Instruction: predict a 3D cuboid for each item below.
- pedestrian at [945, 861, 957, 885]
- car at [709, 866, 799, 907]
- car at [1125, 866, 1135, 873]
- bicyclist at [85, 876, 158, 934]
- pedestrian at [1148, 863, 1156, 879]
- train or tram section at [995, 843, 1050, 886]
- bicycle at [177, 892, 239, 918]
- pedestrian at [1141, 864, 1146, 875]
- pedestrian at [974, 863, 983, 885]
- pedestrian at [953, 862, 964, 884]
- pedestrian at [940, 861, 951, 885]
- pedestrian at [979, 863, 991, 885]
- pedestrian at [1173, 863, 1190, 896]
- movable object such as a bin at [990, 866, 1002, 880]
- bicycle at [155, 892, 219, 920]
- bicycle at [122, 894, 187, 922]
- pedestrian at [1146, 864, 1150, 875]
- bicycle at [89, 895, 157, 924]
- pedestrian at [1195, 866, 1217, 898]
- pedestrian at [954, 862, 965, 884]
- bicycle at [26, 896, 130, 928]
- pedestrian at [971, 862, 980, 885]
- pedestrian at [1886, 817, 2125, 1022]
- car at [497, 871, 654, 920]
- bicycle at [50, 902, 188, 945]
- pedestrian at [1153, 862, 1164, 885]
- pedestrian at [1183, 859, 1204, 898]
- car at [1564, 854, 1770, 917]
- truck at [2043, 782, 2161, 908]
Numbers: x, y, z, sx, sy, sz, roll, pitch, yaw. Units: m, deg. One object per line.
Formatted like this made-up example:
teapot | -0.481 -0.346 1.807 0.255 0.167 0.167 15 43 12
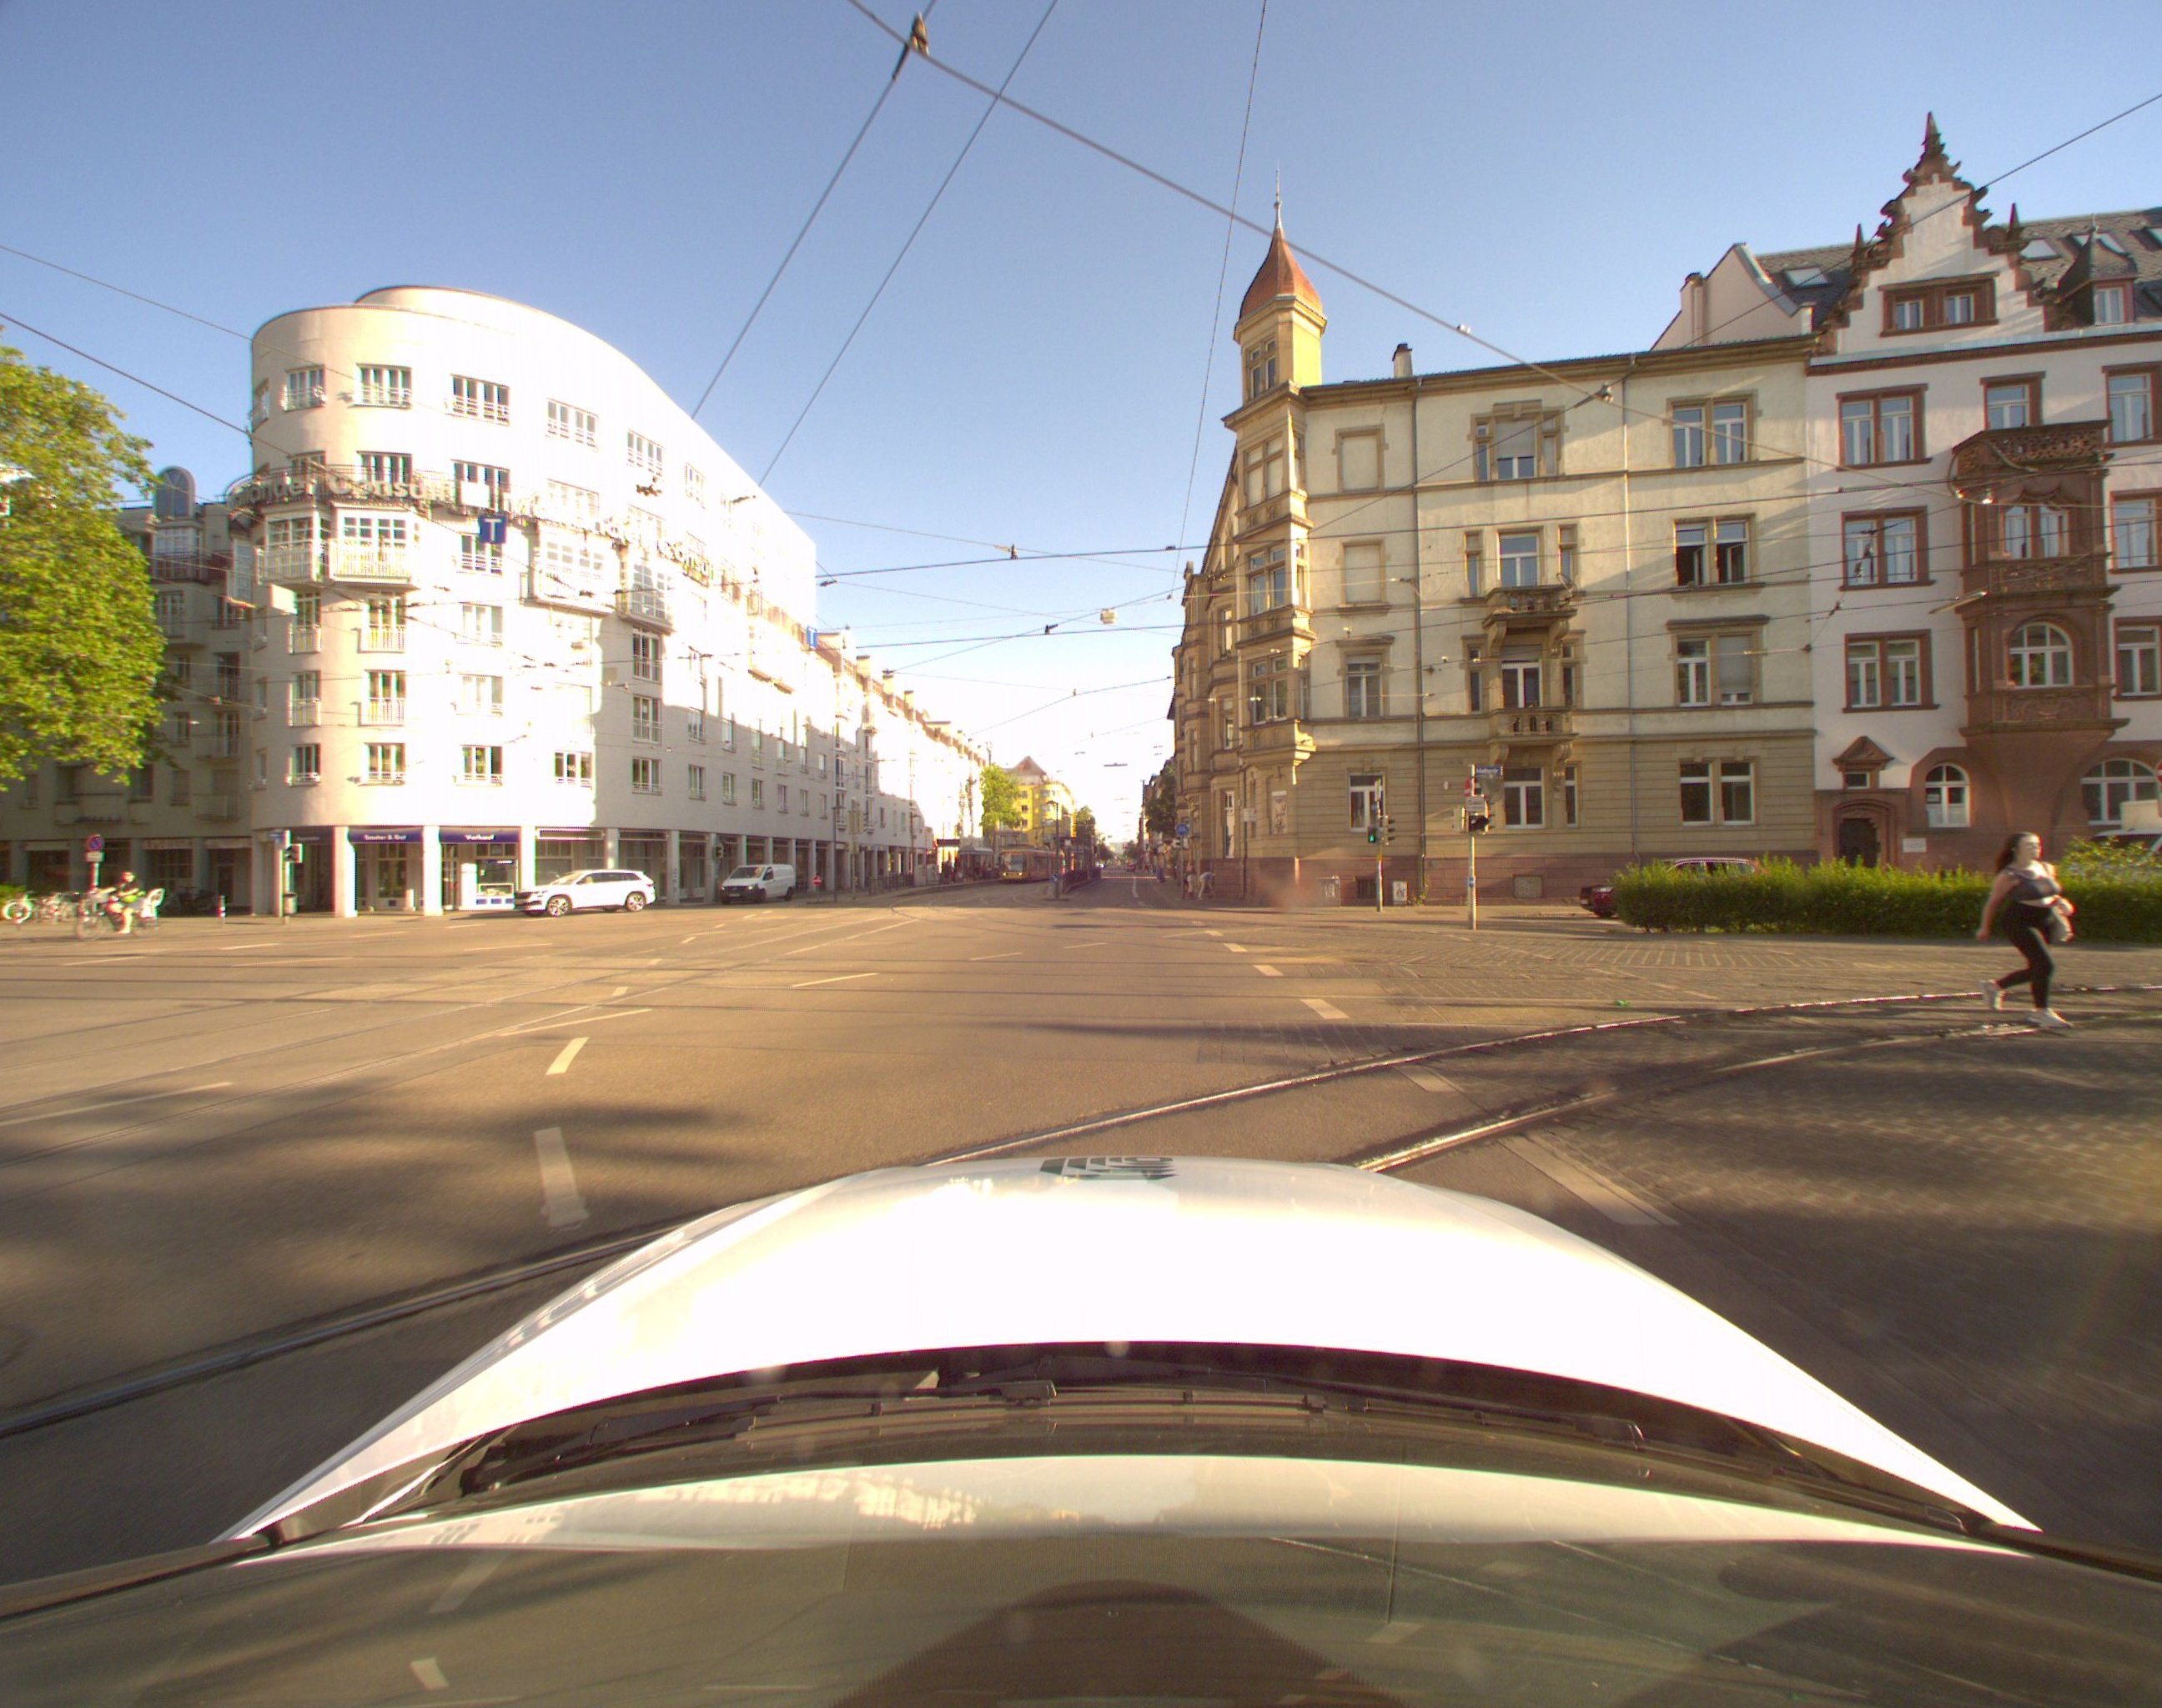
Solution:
pedestrian | -9.564 1.424 60.111 0.756 1.733 0.523 -2 -2 45
car | -15.779 1.523 39.642 1.985 1.837 5.350 -1 -1 3
car | 10.383 3.390 173.466 1.985 1.449 4.003 0 -1 3
bicyclist | -24.994 1.311 21.233 0.837 1.467 0.897 -1 -1 3
pedestrian | 8.466 2.005 97.009 0.711 1.774 0.773 -4 0 0
train or tram section | -5.275 0.914 76.696 2.872 3.490 14.185 -3 0 5
bicycle | -38.202 2.230 35.657 1.932 1.107 0.820 -1 -1 5
pedestrian | 11.609 2.905 151.084 0.840 1.918 0.662 -1 -1 1
pedestrian | -8.632 1.678 68.604 0.693 1.905 0.672 -1 -1 0
pedestrian | -9.372 1.468 62.227 0.698 1.691 0.667 0 -1 -21
pedestrian | -9.640 1.381 58.036 0.596 1.692 0.614 -1 -1 3
pedestrian | -8.284 1.715 70.238 0.928 1.905 0.881 -1 -1 0
pedestrian | 5.815 1.453 47.132 0.797 1.824 0.798 -3 0 2
movable object such as a bin | -7.951 1.756 76.309 0.934 1.287 0.935 -1 -1 1
bicycle | -38.184 2.225 34.787 1.932 1.107 0.820 -1 -1 5
bicycle | -38.153 2.219 33.552 1.931 1.107 0.821 -1 -1 8
pedestrian | 10.948 2.503 132.382 0.556 1.796 0.652 -1 -1 10
bicycle | -38.294 2.215 32.569 1.931 1.107 0.821 -1 -1 8
pedestrian | 5.498 1.233 35.817 0.791 1.331 0.719 -2 -2 1
pedestrian | -9.534 1.502 64.042 0.698 1.691 0.667 0 -1 -21
bicycle | -38.001 2.191 30.903 2.437 1.107 0.934 -1 -1 -11
pedestrian | -8.828 1.664 68.052 0.693 1.905 0.672 -1 -1 0
pedestrian | 8.770 0.589 7.798 1.020 1.807 1.083 -1 -1 0
car | -18.542 1.471 30.104 1.975 1.620 4.538 -1 -1 28
bicycle | -24.990 1.782 21.228 0.837 0.927 2.266 -1 -1 3
pedestrian | 5.922 1.482 62.243 0.759 1.645 0.833 -3 0 2
pedestrian | 5.035 1.103 36.602 0.791 1.721 0.719 -2 -2 1
car | 16.147 0.887 22.684 4.231 1.632 1.950 -1 -2 11
truck | 30.145 -0.228 20.604 8.015 3.081 2.334 -1 -2 6
